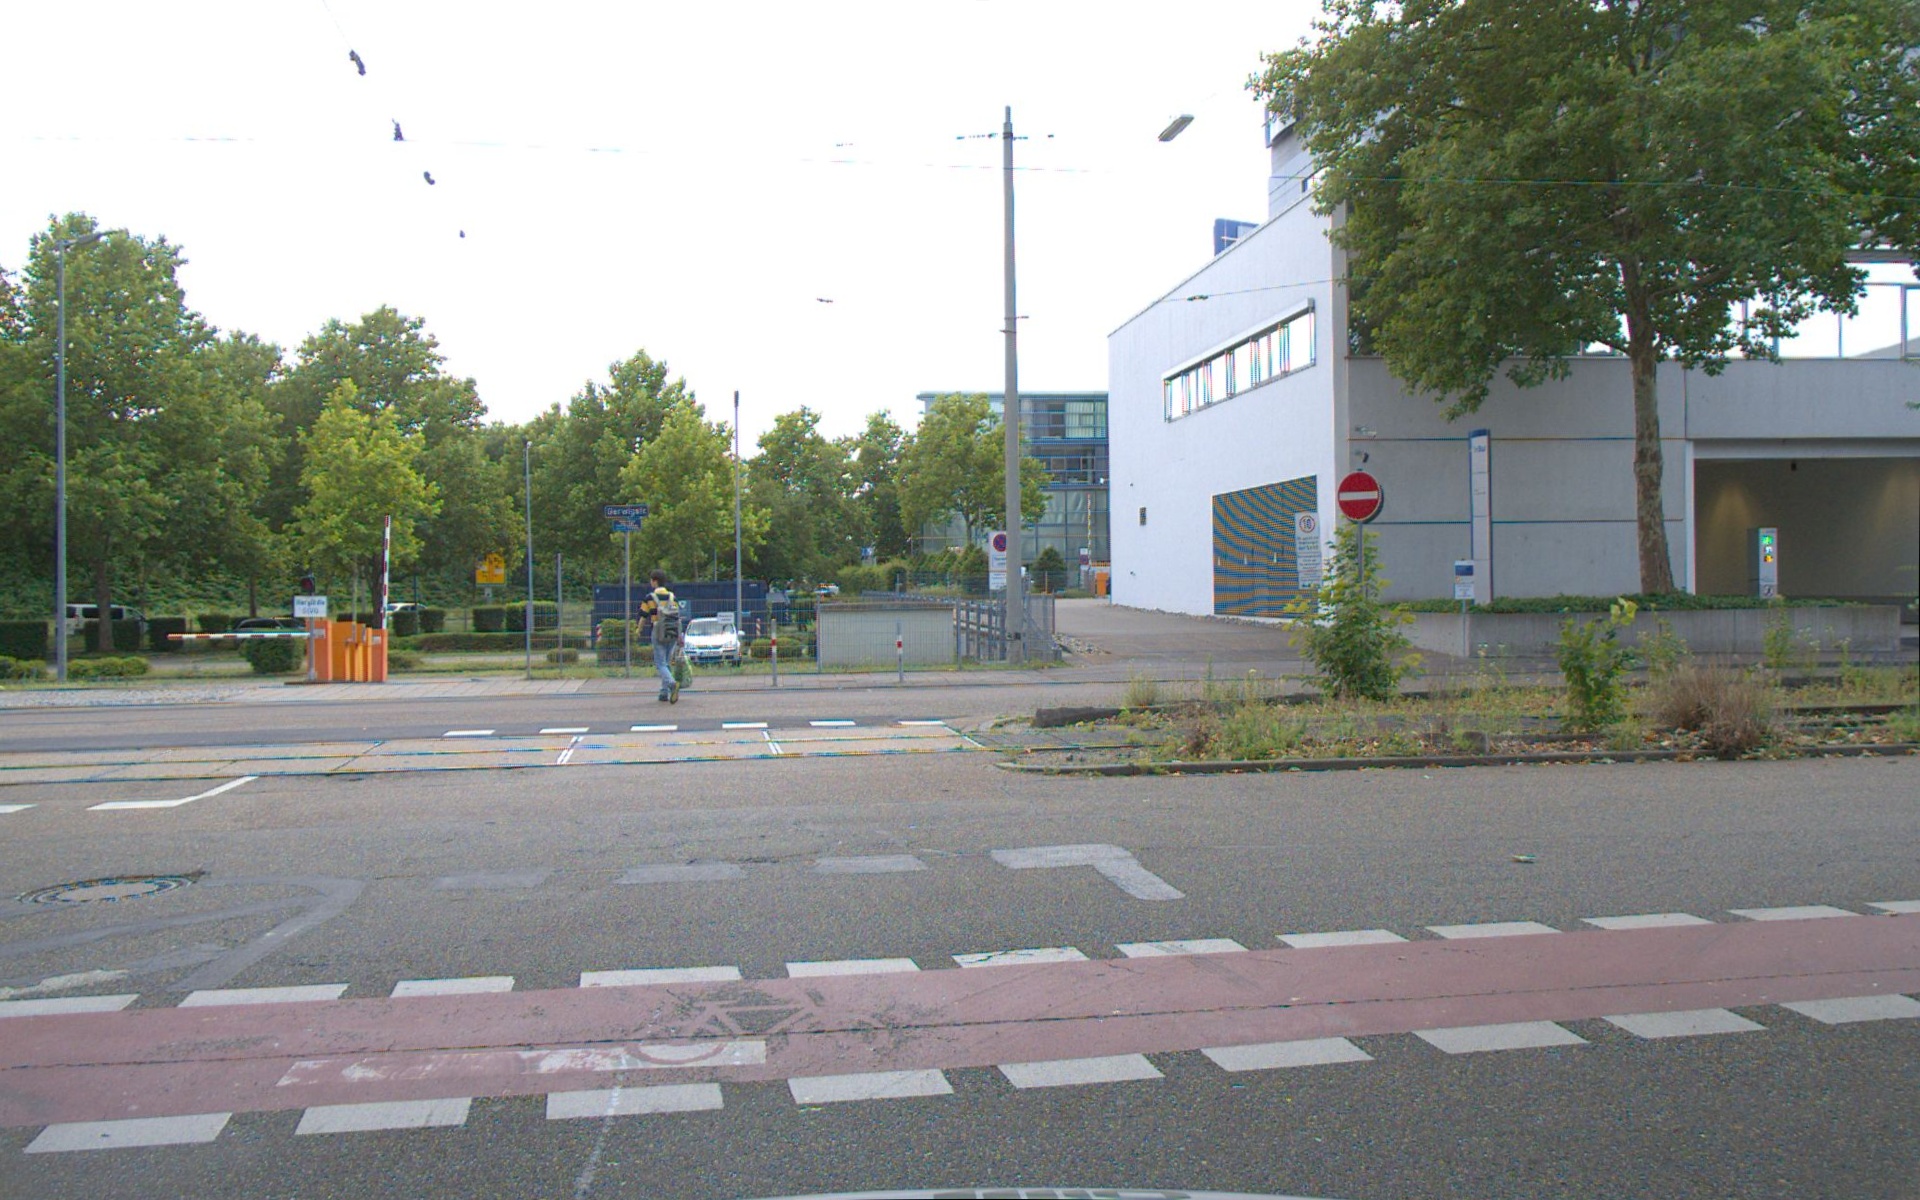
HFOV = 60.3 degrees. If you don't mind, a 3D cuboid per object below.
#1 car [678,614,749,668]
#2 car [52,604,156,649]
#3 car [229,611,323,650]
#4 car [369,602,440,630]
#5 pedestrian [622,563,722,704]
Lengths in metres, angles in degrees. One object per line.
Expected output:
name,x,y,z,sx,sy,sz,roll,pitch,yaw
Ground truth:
car,-7.256,1.182,49.051,1.894,1.427,4.075,-1,0,-6
car,-43.744,1.343,84.615,1.818,2.173,4.567,-1,0,24
car,-32.085,1.435,77.599,3.907,1.731,1.909,-1,0,24
car,-35.942,1.029,107.106,1.876,1.751,4.297,-1,0,25
pedestrian,-4.005,0.448,22.971,0.990,1.881,1.216,-1,0,-31
